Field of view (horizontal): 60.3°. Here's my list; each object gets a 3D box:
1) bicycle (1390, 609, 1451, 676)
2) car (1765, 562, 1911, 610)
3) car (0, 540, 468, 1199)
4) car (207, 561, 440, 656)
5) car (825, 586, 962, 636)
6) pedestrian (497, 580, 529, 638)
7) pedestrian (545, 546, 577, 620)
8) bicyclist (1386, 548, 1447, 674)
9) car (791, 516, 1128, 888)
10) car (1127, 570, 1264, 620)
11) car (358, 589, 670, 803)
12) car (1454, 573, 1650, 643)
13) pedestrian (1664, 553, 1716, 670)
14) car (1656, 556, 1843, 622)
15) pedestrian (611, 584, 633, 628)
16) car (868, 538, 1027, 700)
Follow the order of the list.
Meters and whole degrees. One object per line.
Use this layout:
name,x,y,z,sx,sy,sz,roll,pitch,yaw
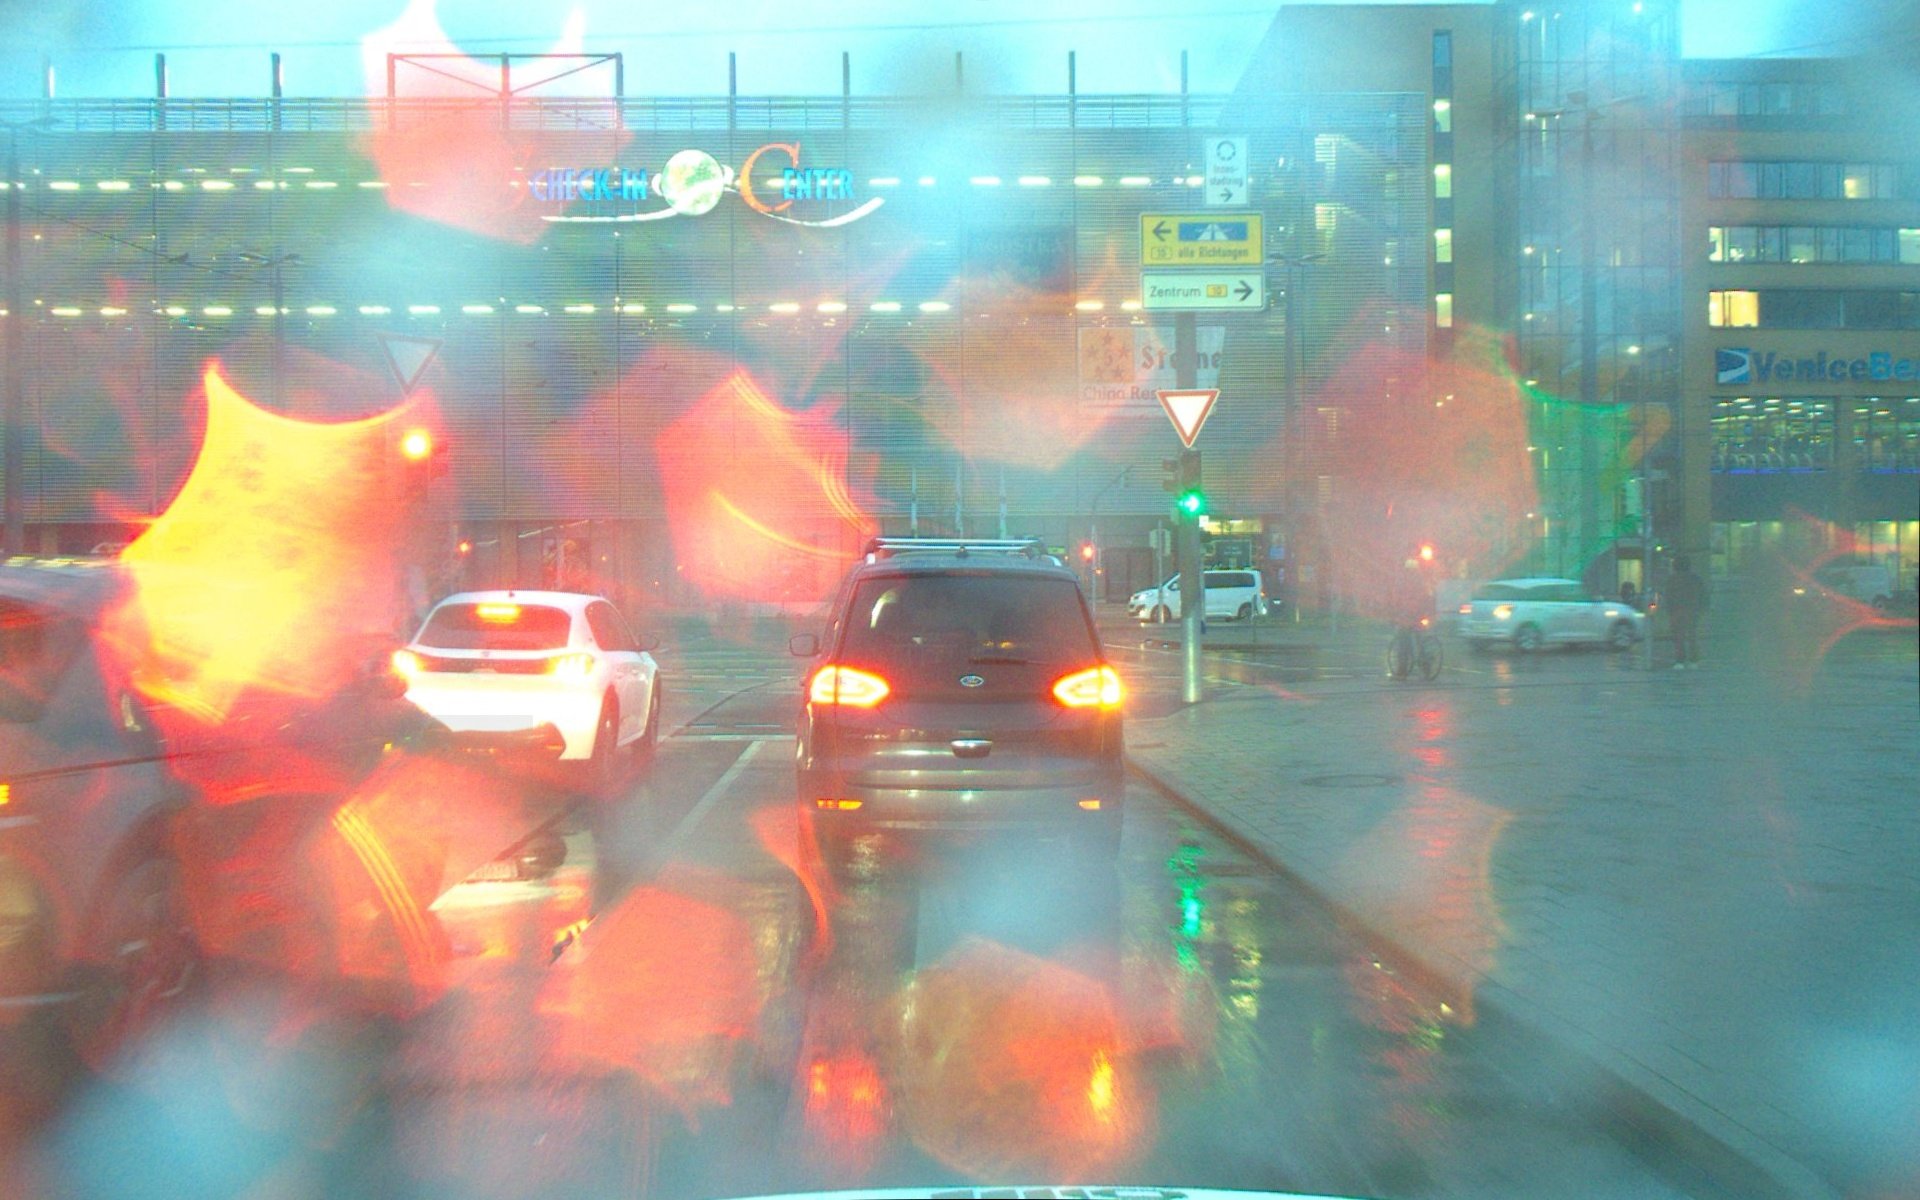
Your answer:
bicycle,7.198,0.648,25.896,0.641,0.990,1.868,-1,0,7
car,33.069,-0.518,62.390,4.502,1.749,1.929,-1,0,-2
car,-3.184,0.656,5.996,1.785,1.597,4.358,-1,0,-5
car,-13.663,0.153,35.862,1.860,1.904,4.963,-1,0,21
car,-2.126,0.335,53.983,4.304,1.512,1.838,-1,0,-42
pedestrian,-19.637,0.393,72.636,1.087,2.482,0.966,1,-1,1
pedestrian,-16.166,-0.686,67.052,0.943,2.976,1.114,1,-1,1
bicyclist,7.119,0.160,25.839,0.774,1.923,0.990,-1,0,7
car,0.033,0.495,10.225,1.639,1.810,4.001,1,0,1
car,8.428,-0.195,59.392,4.548,1.707,1.784,-1,0,-7
car,-3.445,0.656,13.491,1.723,1.489,3.914,0,0,-4
car,12.437,0.145,34.786,3.663,1.385,1.637,-1,0,-18
pedestrian,12.060,0.190,27.320,0.757,1.910,0.635,-1,0,24
car,26.434,-0.340,55.430,5.537,2.095,1.950,-1,0,30
pedestrian,-14.211,0.248,69.489,0.772,1.818,0.732,-1,0,-4
car,-0.225,0.195,21.115,1.806,1.837,4.485,-1,0,-2
